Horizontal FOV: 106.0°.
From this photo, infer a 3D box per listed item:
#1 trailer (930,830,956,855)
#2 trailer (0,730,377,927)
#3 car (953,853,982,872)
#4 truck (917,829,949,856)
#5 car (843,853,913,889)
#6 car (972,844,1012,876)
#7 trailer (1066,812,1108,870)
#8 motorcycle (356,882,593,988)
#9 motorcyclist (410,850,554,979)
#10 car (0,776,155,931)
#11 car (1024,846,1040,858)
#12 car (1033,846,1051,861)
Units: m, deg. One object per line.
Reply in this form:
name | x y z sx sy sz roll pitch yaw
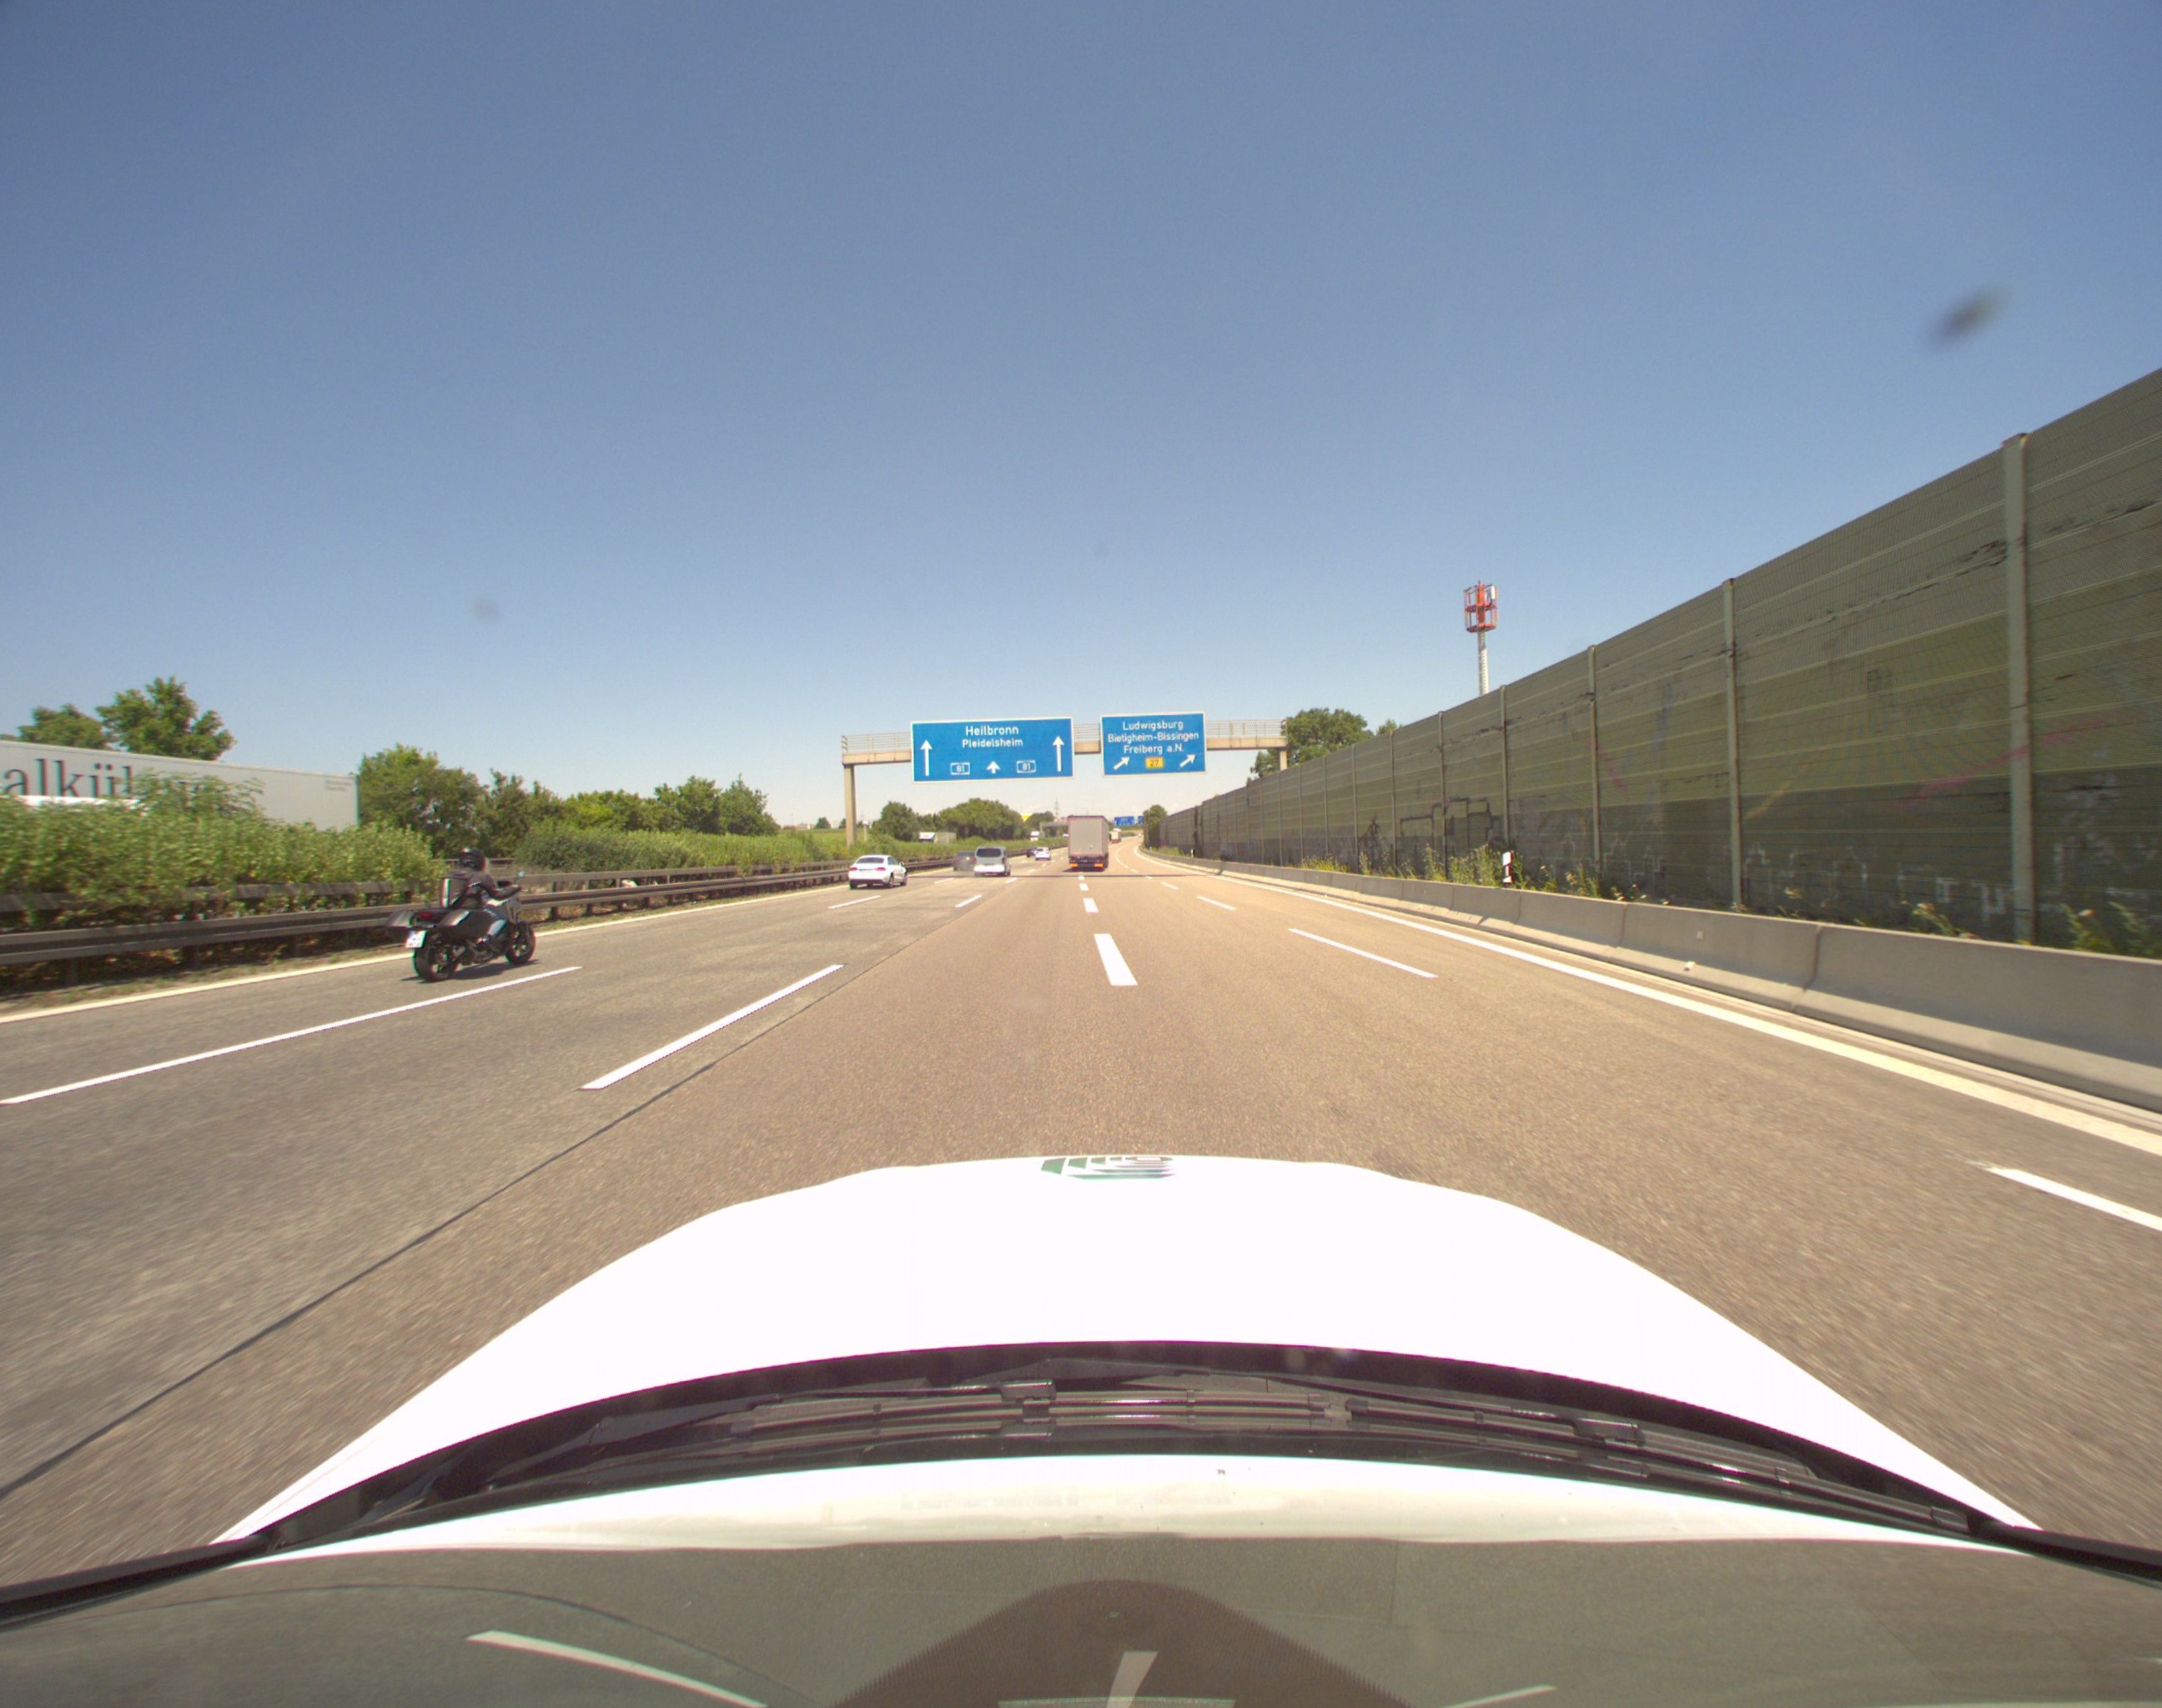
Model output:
trailer | -22.844 -1.851 135.386 2.914 3.967 8.656 0 0 0
trailer | -24.065 -0.520 19.374 2.598 4.133 14.220 -1 0 -1
car | -8.866 0.701 63.949 1.752 1.408 5.035 -1 -1 -2
truck | -22.796 -1.758 125.867 2.992 3.967 10.319 0 0 0
car | -8.929 0.701 36.322 1.871 1.440 5.124 0 0 -1
car | -5.431 0.366 50.236 1.924 1.851 4.691 -1 -1 0
trailer | 0.466 -0.857 62.884 2.918 4.015 12.037 -1 -1 0
motorcycle | -7.839 0.984 10.801 0.909 1.089 2.851 -1 0 2
motorcyclist | -7.851 0.749 10.746 0.890 1.597 1.300 -1 0 2
car | -20.304 -0.001 14.985 1.988 2.765 3.998 -1 0 -1
car | -7.294 -0.258 122.574 1.896 1.689 4.635 -1 1 3
car | -4.930 -0.014 103.327 1.898 1.851 4.631 -1 0 1
